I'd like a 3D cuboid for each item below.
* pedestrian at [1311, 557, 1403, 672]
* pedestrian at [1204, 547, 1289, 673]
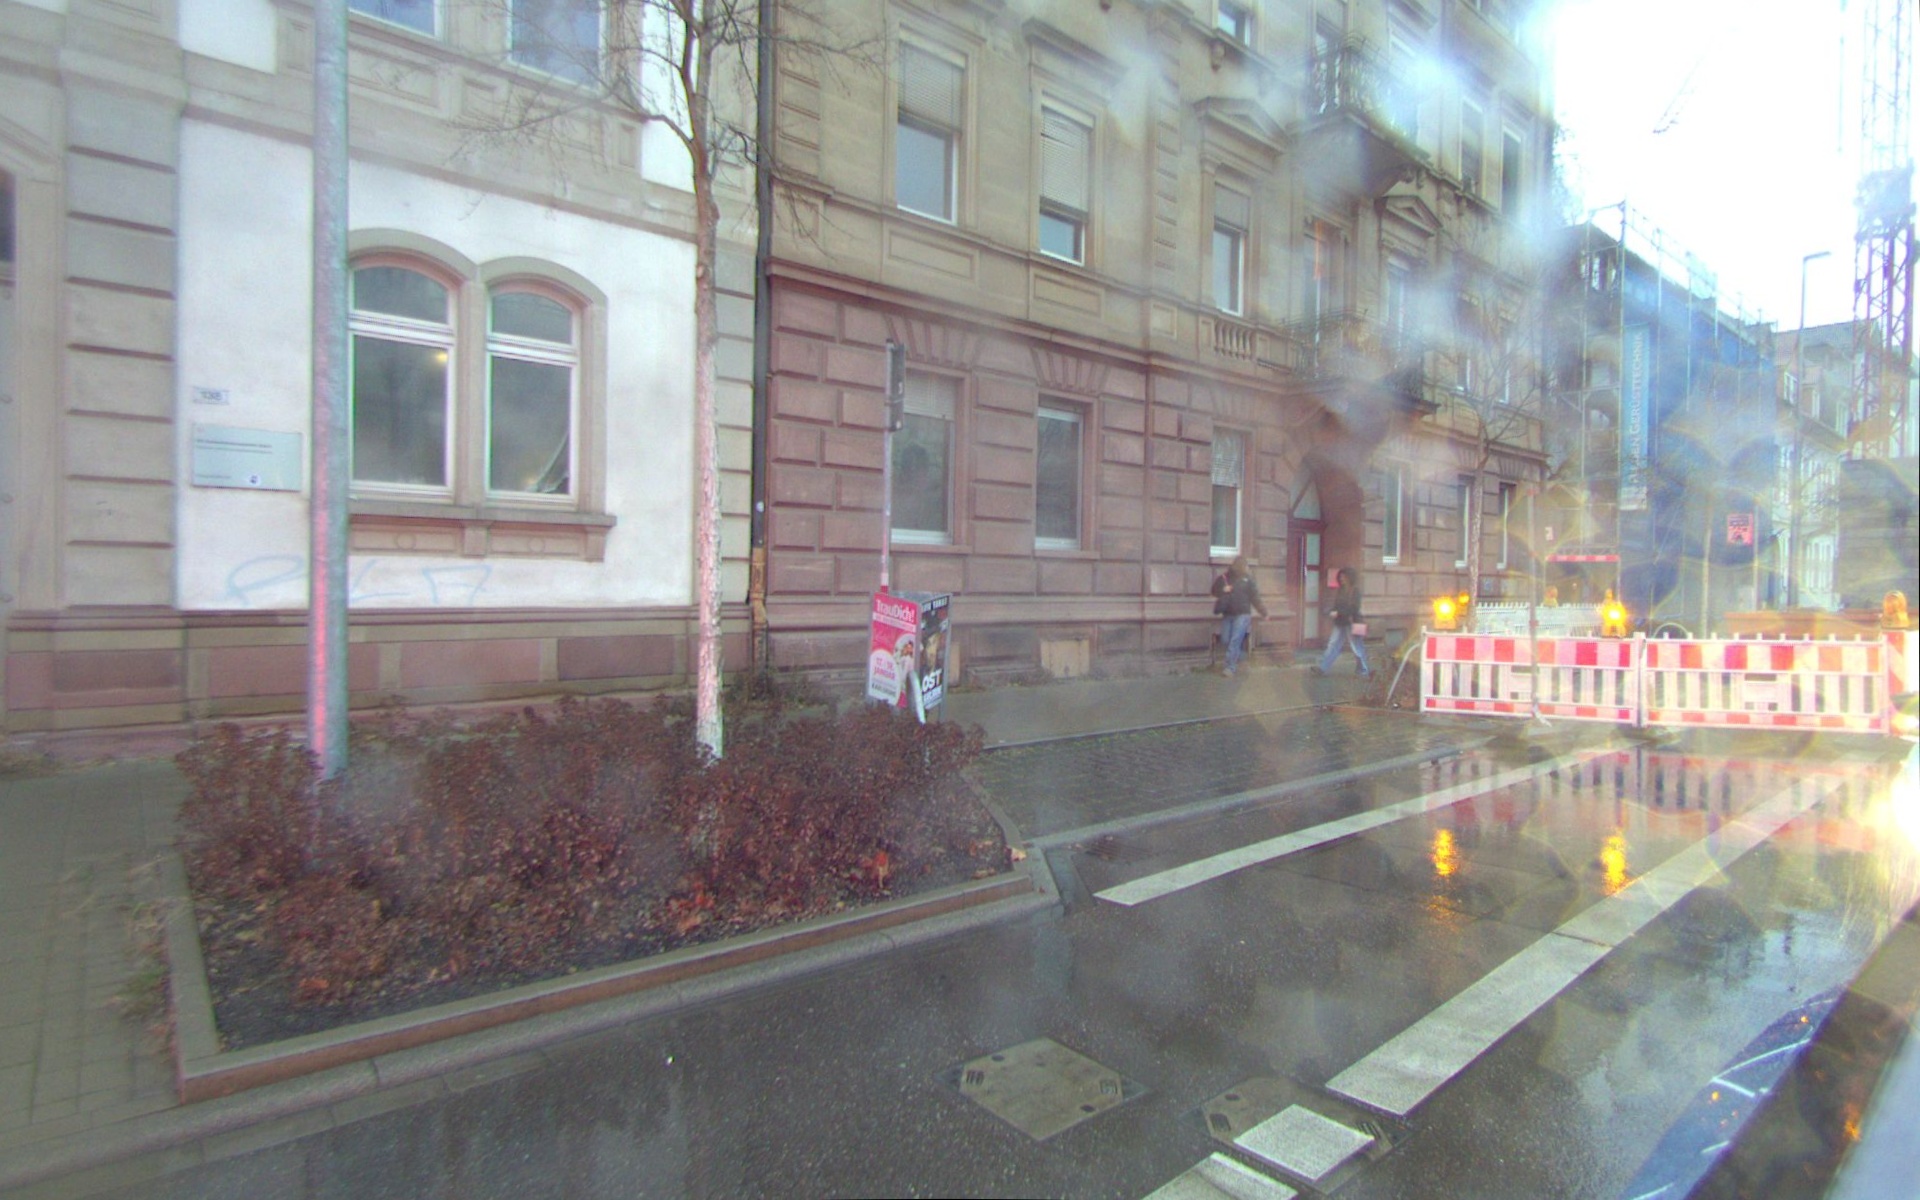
[{"bbox_3d":[5.705,0.185,14.534,0.913,1.564,0.870,0,2,-40],"label":"pedestrian"},{"bbox_3d":[3.999,0.118,14.172,0.693,1.693,0.871,0,1,-37],"label":"pedestrian"}]
